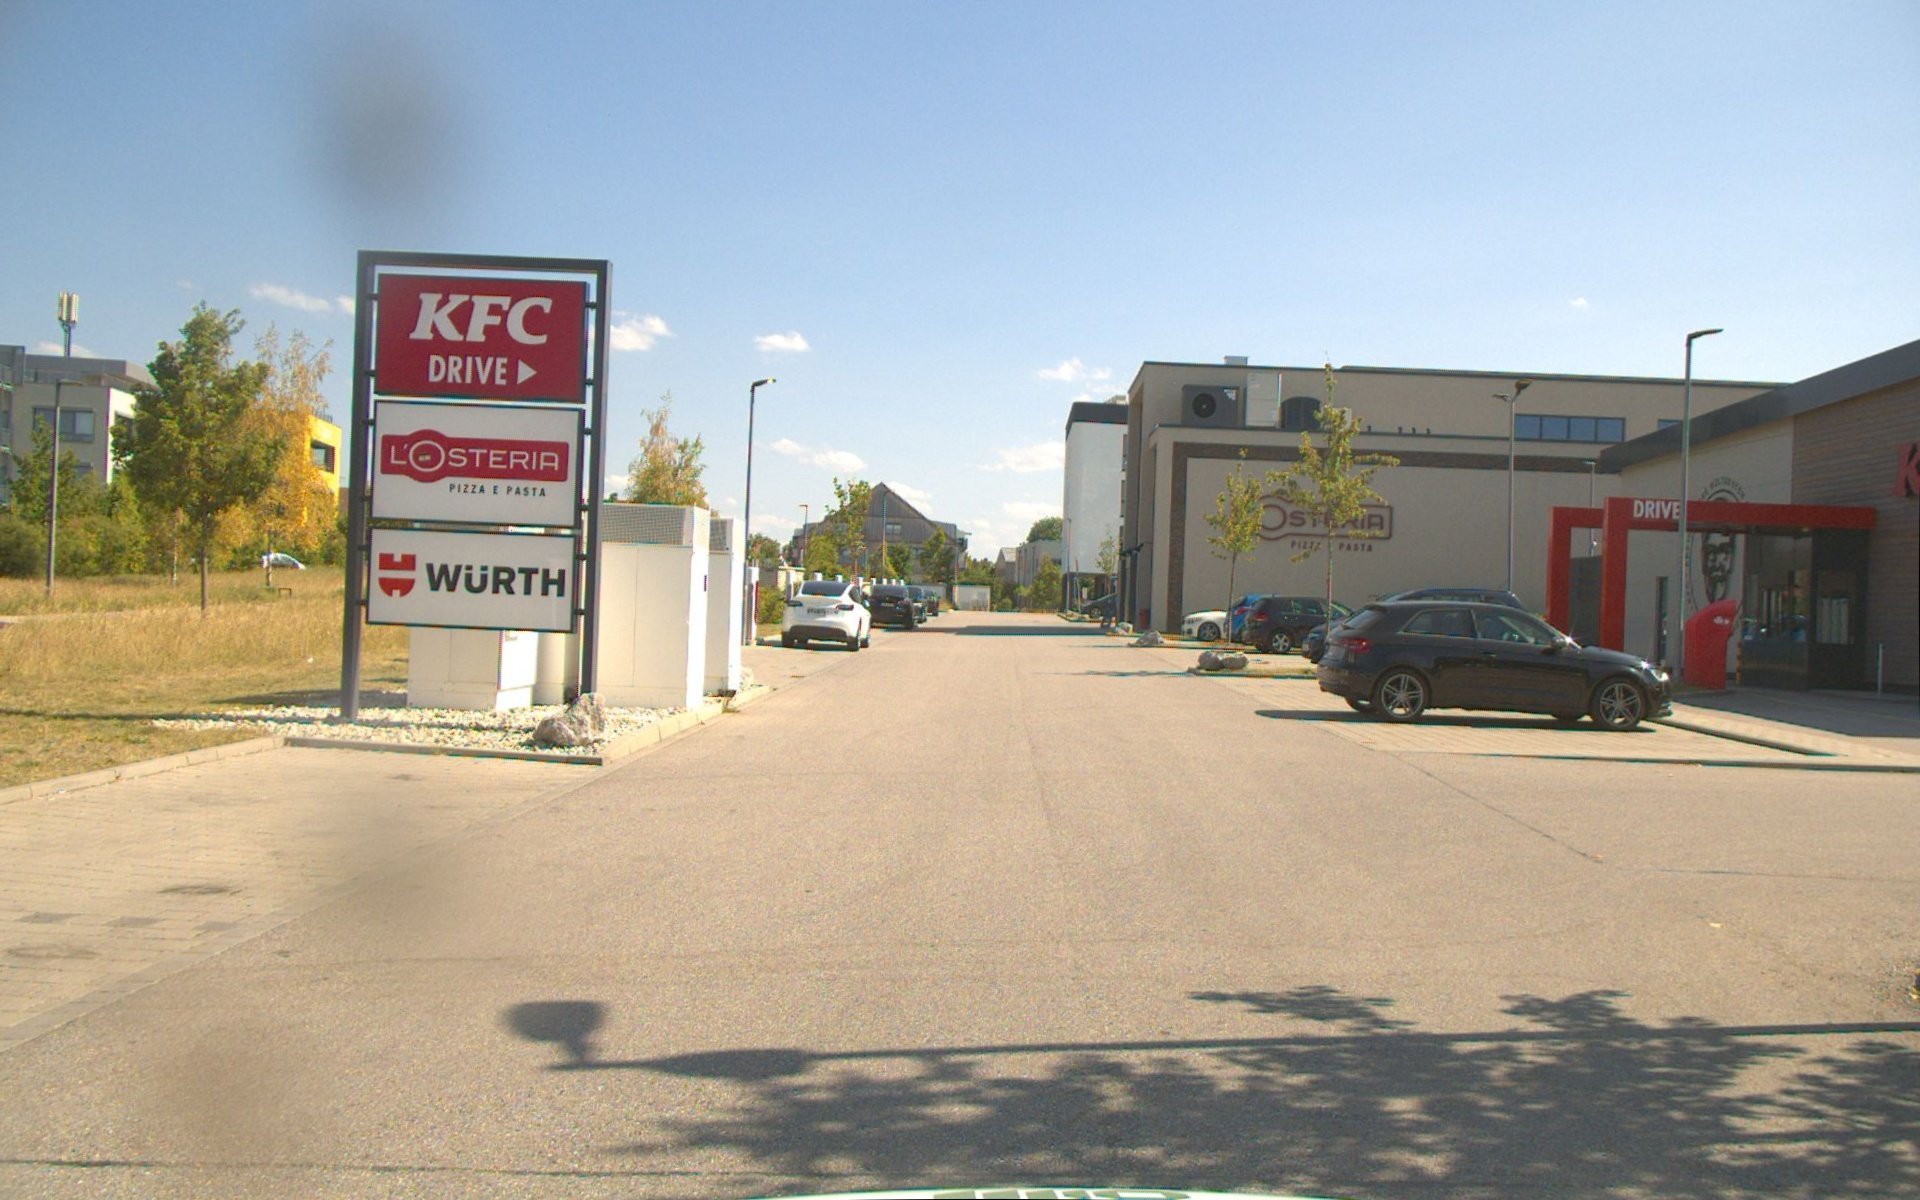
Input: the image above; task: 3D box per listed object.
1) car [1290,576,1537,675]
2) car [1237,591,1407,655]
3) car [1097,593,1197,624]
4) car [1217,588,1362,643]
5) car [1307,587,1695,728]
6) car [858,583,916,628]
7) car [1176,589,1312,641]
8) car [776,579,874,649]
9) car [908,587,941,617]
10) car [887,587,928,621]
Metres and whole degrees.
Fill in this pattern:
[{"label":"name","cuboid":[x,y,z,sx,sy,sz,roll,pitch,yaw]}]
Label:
[{"label":"car","cuboid":[8.756,0.477,32.106,4.284,1.715,1.640,2,0,-4]},{"label":"car","cuboid":[9.175,0.575,42.094,3.907,1.445,1.650,2,0,-2]},{"label":"car","cuboid":[7.703,0.345,68.524,3.905,1.176,2.000,2,1,0]},{"label":"car","cuboid":[9.754,0.444,49.124,3.907,1.445,1.650,2,0,-2]},{"label":"car","cuboid":[6.456,0.660,20.042,4.114,1.466,1.698,2,0,0]},{"label":"car","cuboid":[-2.730,0.189,62.785,1.905,1.595,4.000,2,0,1]},{"label":"car","cuboid":[8.853,0.466,51.773,3.907,1.445,1.650,2,0,-2]},{"label":"car","cuboid":[-3.317,0.319,41.343,1.904,1.595,4.001,2,0,3]},{"label":"car","cuboid":[-1.947,0.096,91.637,1.707,1.595,4.000,2,0,0]},{"label":"car","cuboid":[-2.349,0.151,74.578,1.707,1.411,4.000,2,0,0]}]
